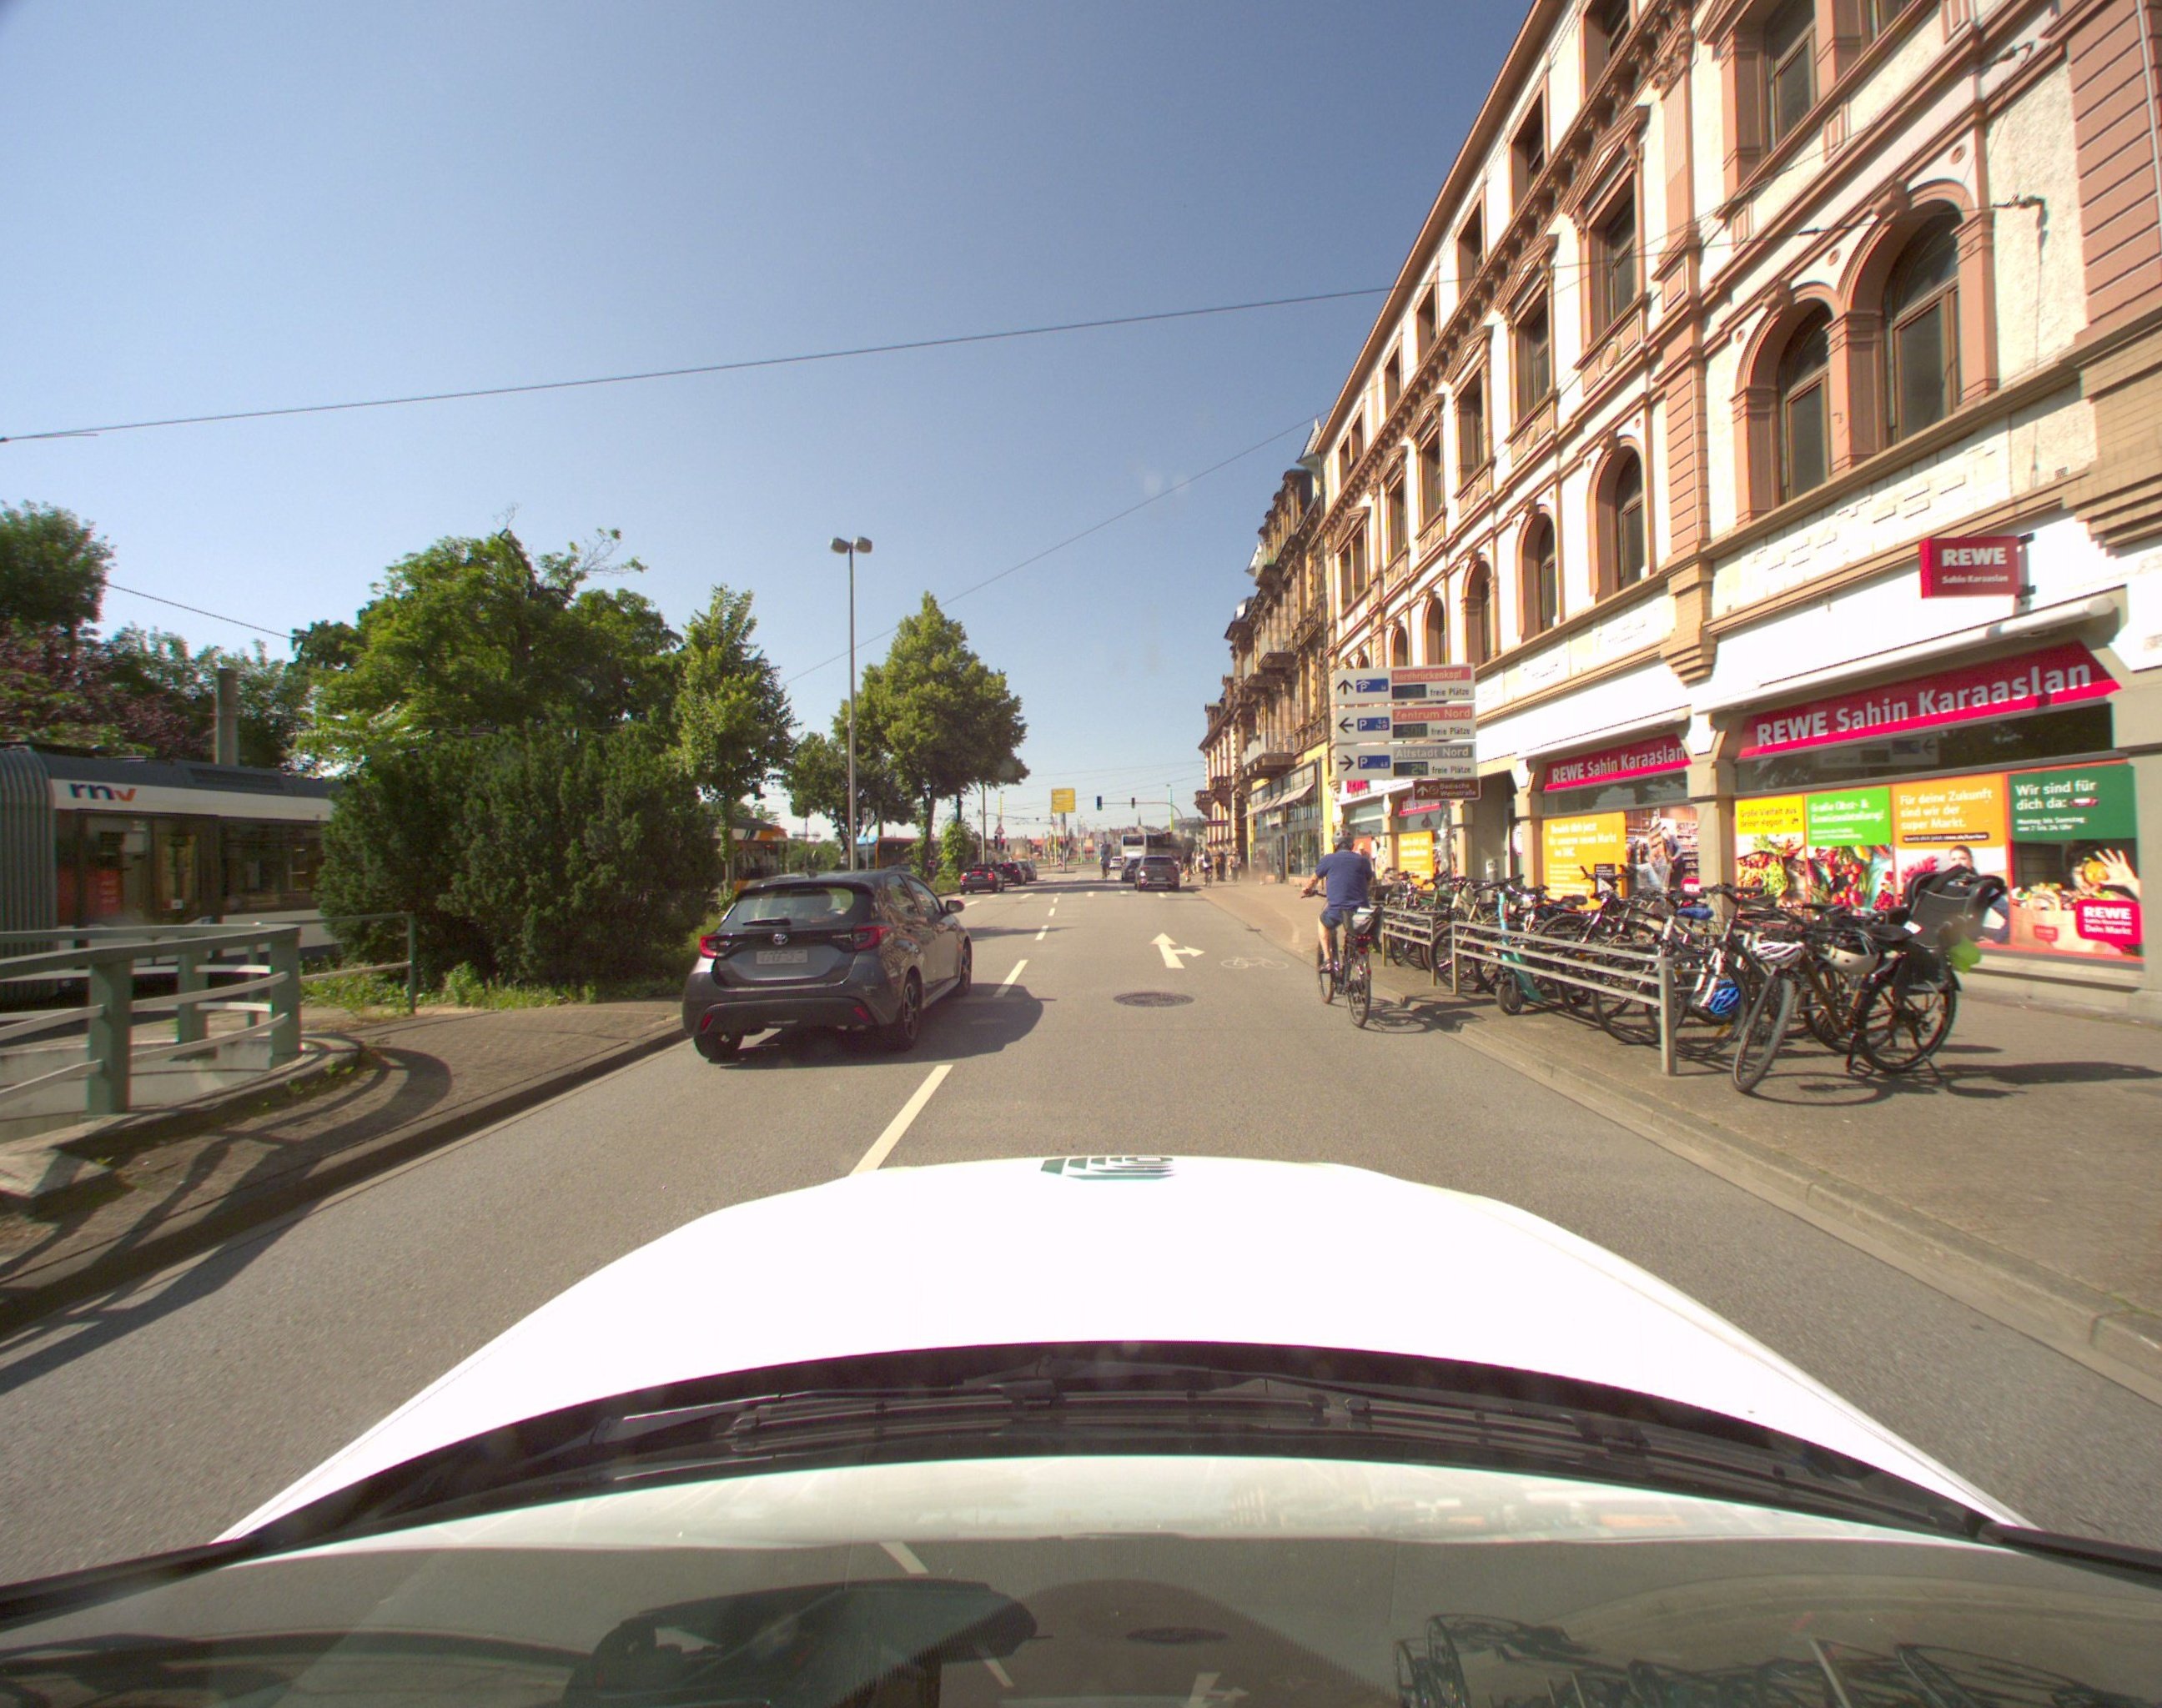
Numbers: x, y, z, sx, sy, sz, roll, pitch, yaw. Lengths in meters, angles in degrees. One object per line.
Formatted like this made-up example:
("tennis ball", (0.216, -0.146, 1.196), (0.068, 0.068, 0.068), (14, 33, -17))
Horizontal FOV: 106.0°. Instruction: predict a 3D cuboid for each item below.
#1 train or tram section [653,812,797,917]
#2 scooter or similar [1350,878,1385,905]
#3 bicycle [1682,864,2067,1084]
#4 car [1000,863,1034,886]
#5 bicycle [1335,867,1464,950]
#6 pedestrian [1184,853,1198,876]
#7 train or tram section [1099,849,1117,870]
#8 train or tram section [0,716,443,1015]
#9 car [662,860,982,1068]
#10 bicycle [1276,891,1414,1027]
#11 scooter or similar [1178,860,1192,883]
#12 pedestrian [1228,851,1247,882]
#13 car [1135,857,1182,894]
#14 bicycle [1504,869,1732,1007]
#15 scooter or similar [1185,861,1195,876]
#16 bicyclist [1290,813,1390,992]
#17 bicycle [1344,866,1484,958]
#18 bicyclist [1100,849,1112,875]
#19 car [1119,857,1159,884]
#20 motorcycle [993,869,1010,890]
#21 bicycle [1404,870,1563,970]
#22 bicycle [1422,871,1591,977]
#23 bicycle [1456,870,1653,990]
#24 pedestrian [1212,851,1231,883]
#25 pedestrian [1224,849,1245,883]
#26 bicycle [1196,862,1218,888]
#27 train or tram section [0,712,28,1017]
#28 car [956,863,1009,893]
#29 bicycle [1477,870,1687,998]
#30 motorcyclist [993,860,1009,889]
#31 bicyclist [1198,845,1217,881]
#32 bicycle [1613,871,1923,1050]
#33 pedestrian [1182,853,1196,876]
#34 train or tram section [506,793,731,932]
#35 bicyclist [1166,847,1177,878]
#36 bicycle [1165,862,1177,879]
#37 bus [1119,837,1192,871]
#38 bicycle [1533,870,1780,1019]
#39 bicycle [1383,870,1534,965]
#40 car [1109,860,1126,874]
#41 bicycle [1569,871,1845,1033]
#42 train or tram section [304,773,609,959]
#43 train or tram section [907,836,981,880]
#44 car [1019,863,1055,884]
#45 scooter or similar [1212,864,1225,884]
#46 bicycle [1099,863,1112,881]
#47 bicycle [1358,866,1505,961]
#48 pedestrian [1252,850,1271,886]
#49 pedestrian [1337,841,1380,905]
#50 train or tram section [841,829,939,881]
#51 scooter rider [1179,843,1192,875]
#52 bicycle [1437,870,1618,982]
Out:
("train or tram section", (-13.348, 0.406, 31.114), (2.603, 3.581, 6.019), (1, -1, 2))
("scooter or similar", (7.588, 0.988, 21.583), (0.688, 0.650, 0.565), (-5, -2, 1))
("bicycle", (4.729, 0.681, 4.937), (1.686, 1.241, 0.609), (0, -1, 2))
("car", (-3.749, 1.212, 48.167), (1.445, 1.301, 4.003), (1, -1, 3))
("bicycle", (4.775, 0.805, 12.279), (1.686, 1.178, 0.609), (-2, -1, 2))
("pedestrian", (7.984, 0.741, 58.930), (0.859, 1.640, 0.875), (-1, 0, 0))
("train or tram section", (4.954, 1.002, 147.032), (2.810, 3.777, 8.234), (1, 0, 4))
("train or tram section", (-13.895, 0.171, 12.849), (2.603, 3.581, 6.105), (1, -1, 2))
("car", (-2.180, 0.861, 8.077), (1.771, 1.475, 4.001), (-2, -1, 1))
("bicycle", (2.466, 0.929, 7.859), (0.731, 1.093, 1.911), (1, -1, 1))
("scooter or similar", (5.588, 0.935, 43.739), (0.685, 1.167, 1.465), (1, -1, 5))
("pedestrian", (8.404, 0.667, 43.773), (0.859, 1.640, 0.875), (1, -1, 0))
("car", (3.310, 0.904, 35.498), (1.866, 1.493, 4.003), (1, -1, 3))
("bicycle", (4.730, 0.720, 7.231), (1.686, 1.179, 0.463), (0, -1, 2))
("scooter or similar", (7.639, 1.031, 57.133), (0.598, 1.047, 0.799), (1, -1, 0))
("bicyclist", (2.472, 0.448, 7.856), (0.686, 1.616, 0.918), (1, -1, 1))
("bicycle", (4.732, 0.810, 11.648), (1.687, 1.178, 0.609), (-3, -1, 2))
("bicyclist", (1.537, 0.512, 49.837), (0.686, 1.577, 1.049), (1, -1, 0))
("car", (3.376, 0.982, 48.025), (1.988, 1.493, 3.998), (1, -1, -1))
("motorcycle", (-4.273, 1.364, 43.666), (0.696, 1.064, 1.909), (-3, 0, -1))
("bicycle", (4.863, 0.782, 9.885), (1.687, 1.179, 0.470), (0, -1, 2))
("bicycle", (4.863, 0.789, 9.369), (1.686, 1.179, 0.460), (0, -1, 2))
("bicycle", (4.786, 0.750, 8.295), (1.686, 1.179, 0.514), (0, -1, 2))
("pedestrian", (7.368, 0.675, 42.790), (0.859, 1.640, 0.875), (1, -1, 0))
("pedestrian", (7.758, 0.609, 41.269), (0.859, 1.640, 0.875), (-2, -1, 0))
("bicycle", (5.636, 0.929, 36.439), (0.731, 1.093, 1.898), (1, -1, 2))
("train or tram section", (-14.098, 0.054, 6.726), (2.604, 3.581, 6.105), (1, -1, 2))
("car", (-4.646, 1.102, 38.768), (1.808, 1.332, 4.003), (1, -1, 3))
("bicycle", (4.733, 0.737, 7.748), (1.686, 1.179, 0.457), (0, -1, 2))
("motorcyclist", (-4.274, 1.100, 43.593), (0.687, 1.556, 0.717), (-3, -2, -1))
("bicyclist", (5.628, 0.397, 36.320), (0.686, 1.577, 1.050), (1, -1, 1))
("bicycle", (4.710, 0.708, 5.648), (1.686, 1.179, 0.498), (0, -1, 2))
("pedestrian", (7.661, 0.730, 57.831), (0.859, 1.640, 0.875), (1, -1, 0))
("train or tram section", (-13.535, 0.284, 24.683), (2.603, 3.581, 6.900), (1, -1, 2))
("bicyclist", (5.923, 0.567, 53.360), (0.685, 1.962, 0.779), (1, -1, 4))
("bicycle", (5.933, 1.105, 53.520), (0.730, 1.093, 1.900), (1, -1, 5))
("bus", (6.821, 0.060, 73.575), (2.940, 2.777, 8.695), (0, -1, 32))
("bicycle", (4.711, 0.723, 6.721), (1.686, 1.179, 0.452), (0, -1, 2))
("bicycle", (4.794, 0.790, 10.394), (1.687, 1.179, 0.470), (0, -1, 2))
("car", (4.113, 1.480, 91.632), (1.851, 1.507, 4.003), (1, -1, 3))
("bicycle", (4.722, 0.720, 6.205), (1.686, 1.179, 0.491), (0, -1, 2))
("train or tram section", (-13.726, 0.279, 18.562), (2.604, 3.581, 5.358), (1, -1, 2))
("train or tram section", (-11.938, 0.457, 71.721), (2.799, 3.581, 8.264), (-2, -2, 18))
("car", (-2.970, 1.320, 55.694), (2.029, 1.332, 4.003), (1, -1, 3))
("scooter or similar", (7.317, 1.069, 43.367), (0.598, 1.047, 0.799), (1, -1, 0))
("bicycle", (1.512, 1.110, 49.878), (0.731, 1.093, 1.898), (1, -1, 1))
("bicycle", (4.696, 0.789, 10.994), (1.686, 1.178, 0.609), (-2, -1, 2))
("pedestrian", (8.152, 0.625, 36.852), (0.652, 1.621, 0.815), (-2, 0, 0))
("pedestrian", (7.550, 0.509, 22.192), (0.753, 1.656, 0.837), (-4, -2, 1))
("train or tram section", (-14.501, 0.174, 62.873), (2.801, 3.581, 10.072), (-2, -2, 15))
("scooter rider", (5.616, 0.275, 43.790), (0.685, 1.729, 0.779), (1, -1, 4))
("bicycle", (4.821, 0.768, 8.848), (1.686, 1.179, 0.459), (0, -1, 2))
